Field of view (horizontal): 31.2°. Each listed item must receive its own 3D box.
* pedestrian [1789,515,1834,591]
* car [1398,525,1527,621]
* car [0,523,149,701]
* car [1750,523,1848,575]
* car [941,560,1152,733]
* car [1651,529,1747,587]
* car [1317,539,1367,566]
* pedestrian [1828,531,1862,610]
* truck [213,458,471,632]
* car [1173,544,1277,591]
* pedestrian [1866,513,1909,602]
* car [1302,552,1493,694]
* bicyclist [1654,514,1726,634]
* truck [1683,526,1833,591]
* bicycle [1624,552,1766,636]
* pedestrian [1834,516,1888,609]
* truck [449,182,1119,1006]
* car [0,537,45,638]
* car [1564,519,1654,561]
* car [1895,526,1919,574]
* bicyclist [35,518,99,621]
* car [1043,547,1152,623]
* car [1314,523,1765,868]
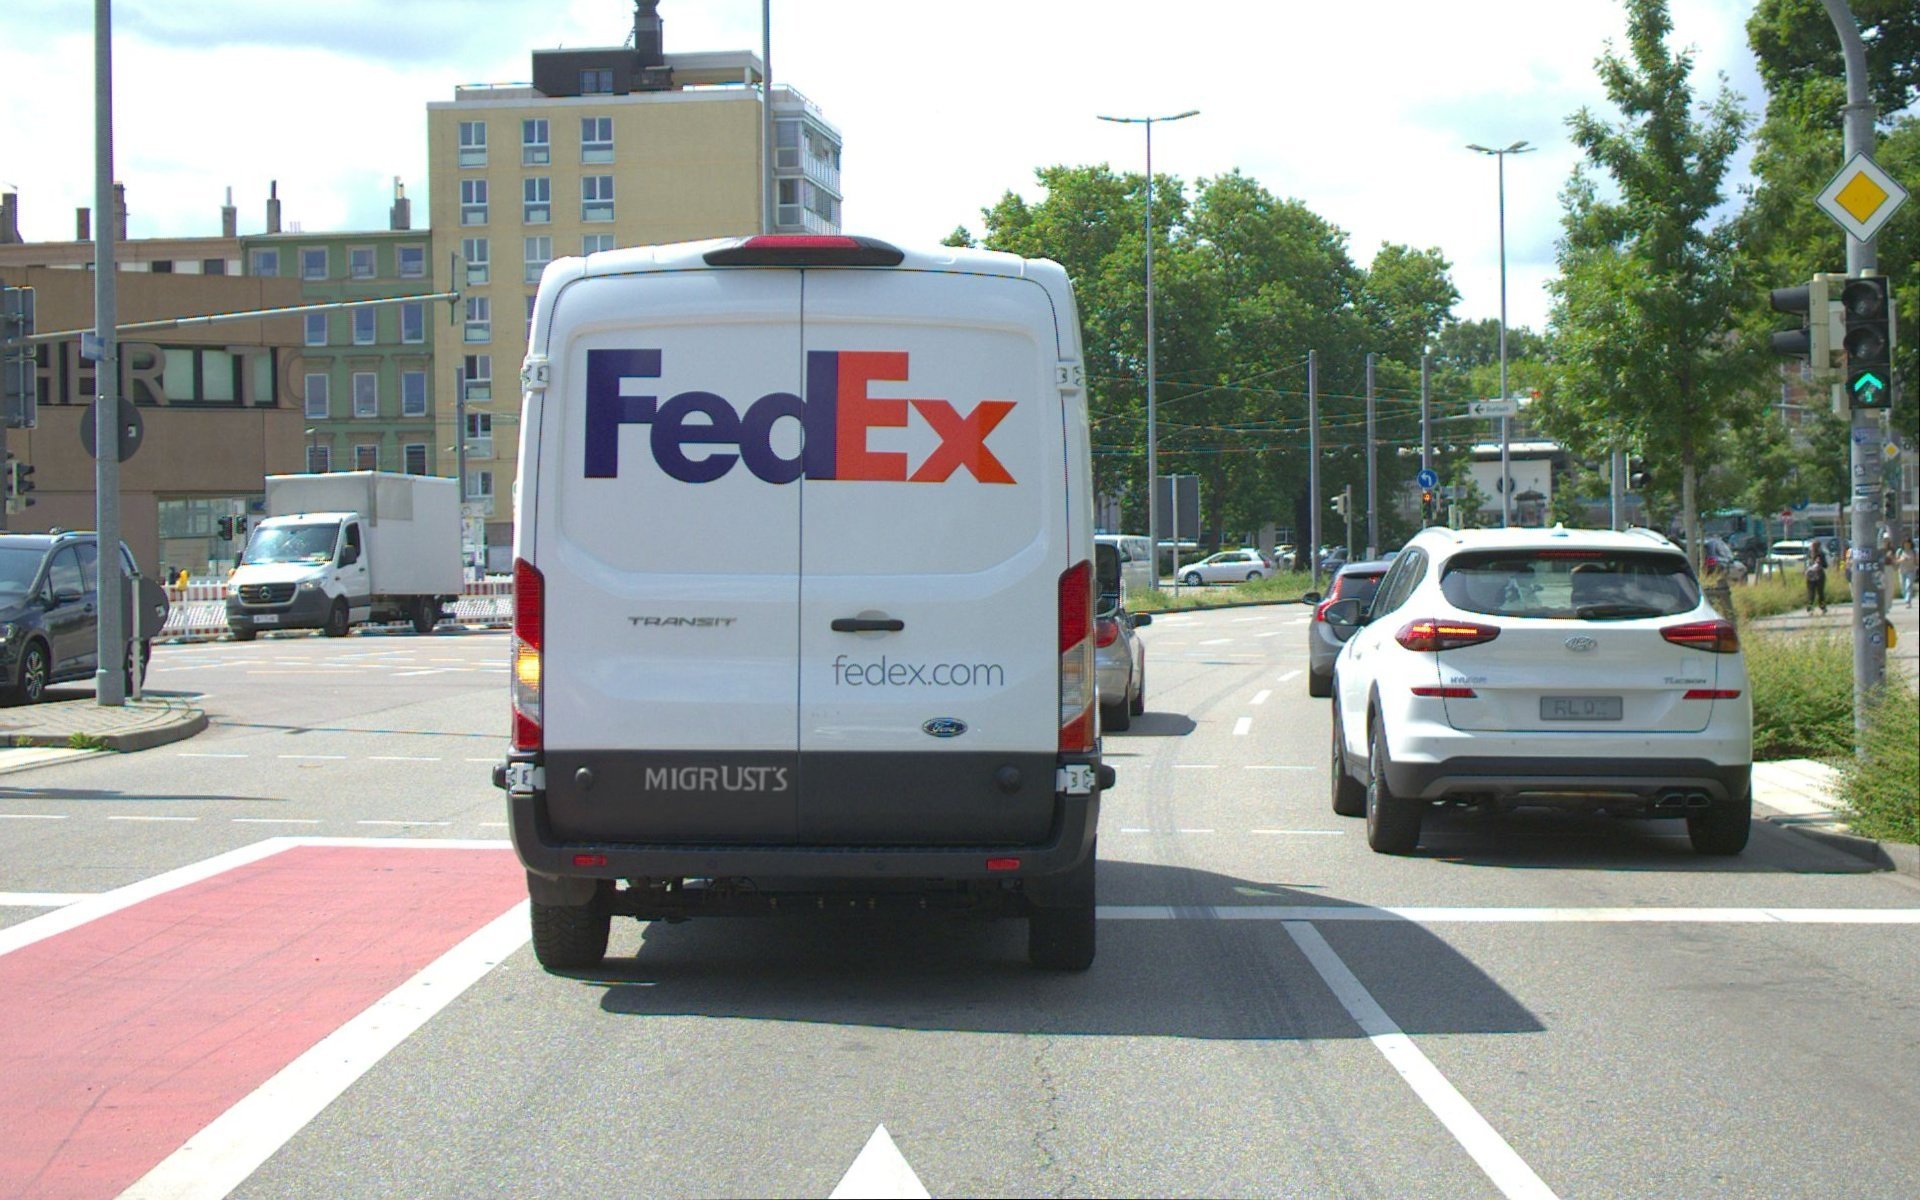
[{"bbox_3d":[18.048,-0.991,72.885,0.756,1.584,0.761,0,0,1],"label":"pedestrian"},{"bbox_3d":[8.993,-0.508,61.320,1.882,1.636,3.955,-1,1,14],"label":"car"},{"bbox_3d":[-9.393,0.061,33.294,1.881,1.618,4.155,0,1,3],"label":"car"},{"bbox_3d":[27.847,-1.699,114.046,1.885,1.636,3.949,0,1,34],"label":"car"},{"bbox_3d":[0.782,0.363,30.711,1.741,1.387,4.179,-1,1,2],"label":"car"},{"bbox_3d":[21.710,-1.236,100.934,1.884,1.636,3.952,0,1,26],"label":"car"},{"bbox_3d":[22.743,-2.837,204.648,1.995,1.568,4.174,1,0,20],"label":"car"},{"bbox_3d":[18.321,-0.618,71.179,0.587,1.620,0.727,0,0,7],"label":"pedestrian"},{"bbox_3d":[-11.419,-0.986,64.184,1.995,3.057,7.326,0,0,13],"label":"truck"},{"bbox_3d":[10.910,-1.336,141.362,4.076,1.918,1.809,1,0,12],"label":"car"},{"bbox_3d":[19.148,-0.873,70.991,0.756,1.815,0.638,0,0,7],"label":"pedestrian"},{"bbox_3d":[4.708,0.215,37.434,1.915,1.415,3.918,-1,1,5],"label":"car"},{"bbox_3d":[10.102,-0.357,47.576,0.828,1.596,0.579,-3,-1,6],"label":"bicyclist"},{"bbox_3d":[36.802,-1.928,158.277,2.892,2.842,8.771,0,1,41],"label":"truck"},{"bbox_3d":[10.159,-0.081,47.567,1.810,1.046,0.591,-3,-1,6],"label":"bicycle"},{"bbox_3d":[18.019,-0.747,68.794,0.756,1.815,0.780,-4,0,1],"label":"pedestrian"},{"bbox_3d":[-0.534,-0.055,13.973,2.137,2.631,5.917,0,1,1],"label":"truck"},{"bbox_3d":[-15.773,-0.140,50.675,3.895,1.481,1.999,-2,1,-43],"label":"car"},{"bbox_3d":[29.813,-2.754,157.856,1.722,1.794,4.728,-1,1,43],"label":"car"},{"bbox_3d":[34.116,-1.759,119.582,1.885,1.636,3.949,0,1,34],"label":"car"},{"bbox_3d":[-12.757,-0.441,49.113,0.565,1.456,0.836,-1,1,9],"label":"bicyclist"},{"bbox_3d":[3.743,-0.395,93.082,1.995,2.007,4.119,1,0,16],"label":"car"},{"bbox_3d":[2.962,0.407,18.413,1.881,1.636,4.232,0,1,3],"label":"car"}]
